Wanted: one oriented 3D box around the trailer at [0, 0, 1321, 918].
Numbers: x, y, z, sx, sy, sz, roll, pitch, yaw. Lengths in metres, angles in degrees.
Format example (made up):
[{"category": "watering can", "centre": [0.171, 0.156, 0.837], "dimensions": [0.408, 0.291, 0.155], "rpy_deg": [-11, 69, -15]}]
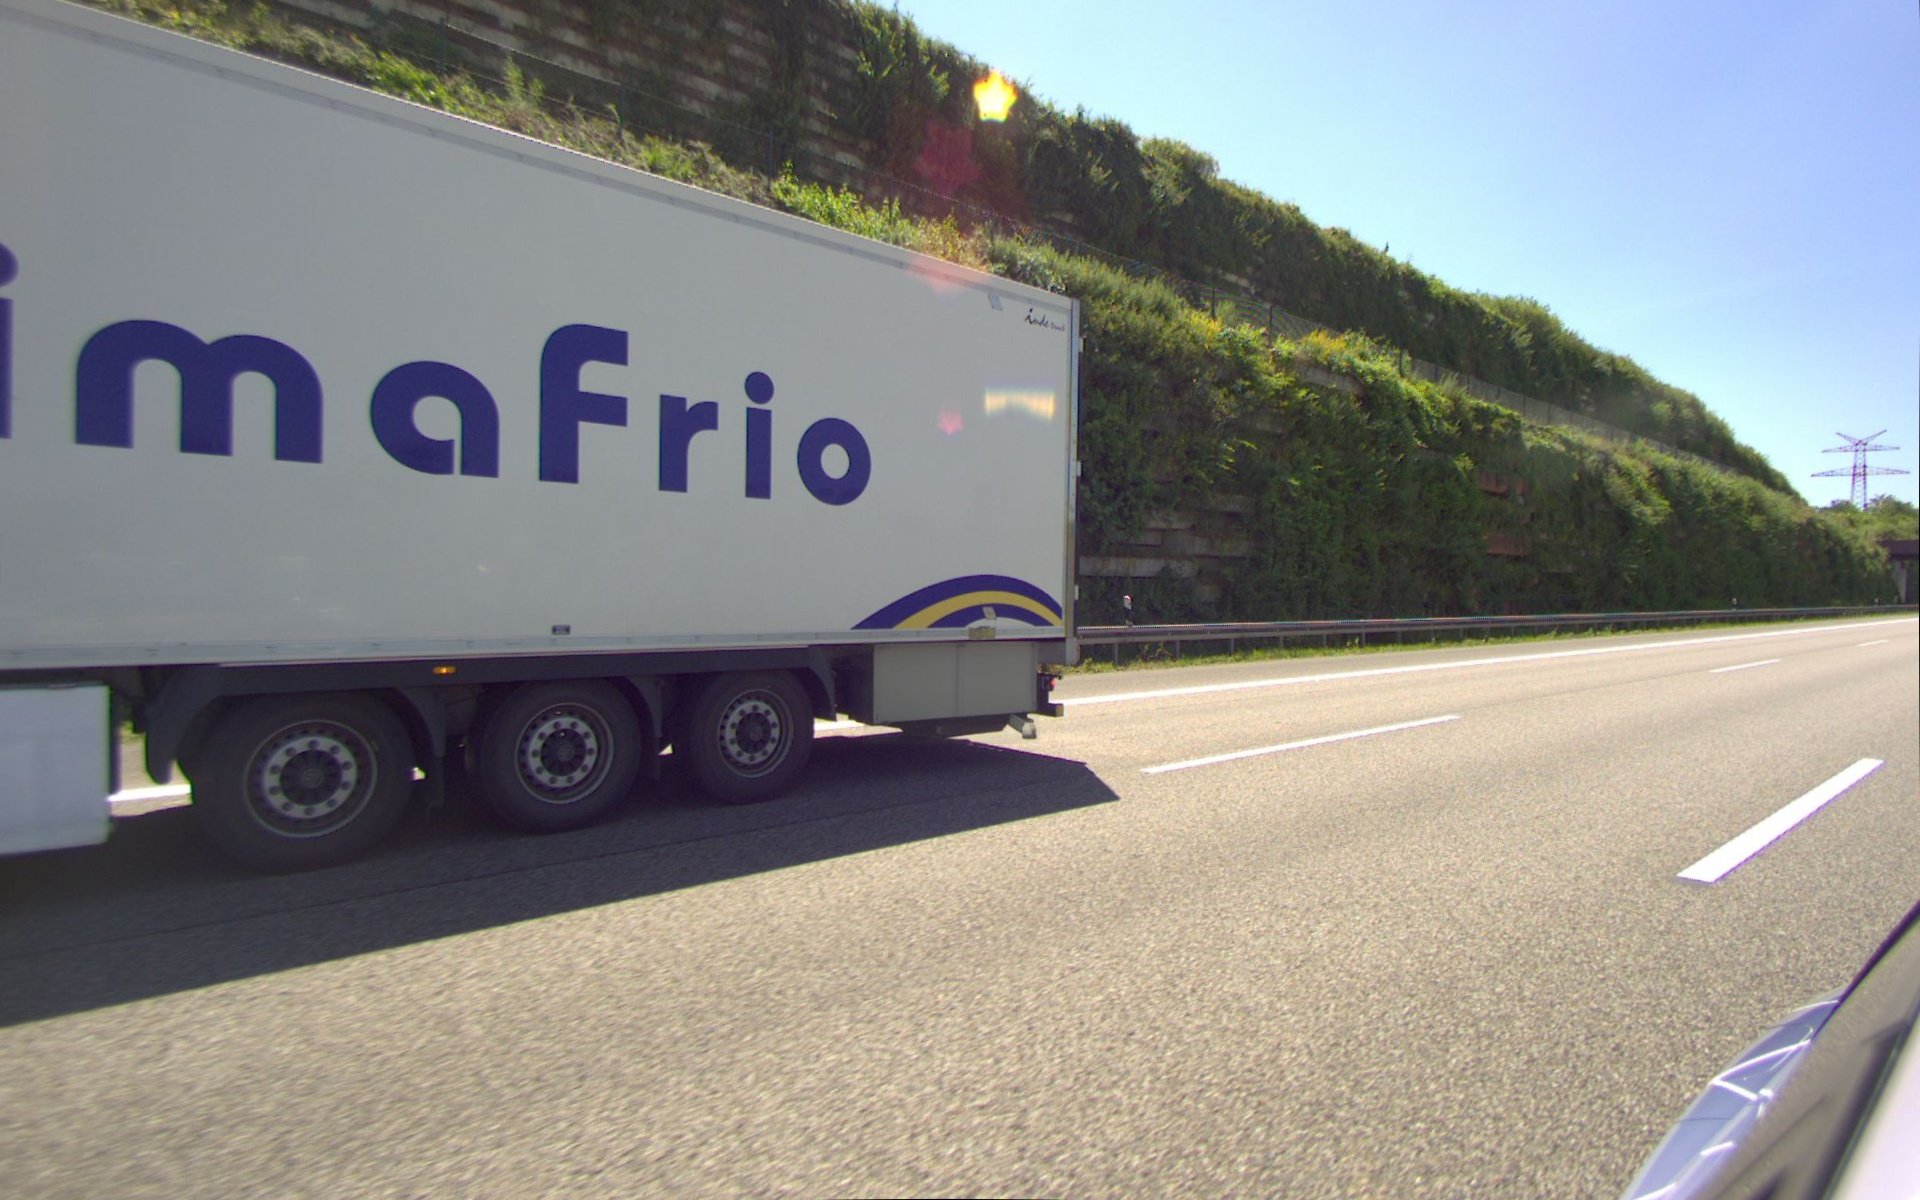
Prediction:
[{"category": "trailer", "centre": [-3.227, -0.831, 6.587], "dimensions": [16.728, 4.264, 2.519], "rpy_deg": [0, 1, -41]}]
